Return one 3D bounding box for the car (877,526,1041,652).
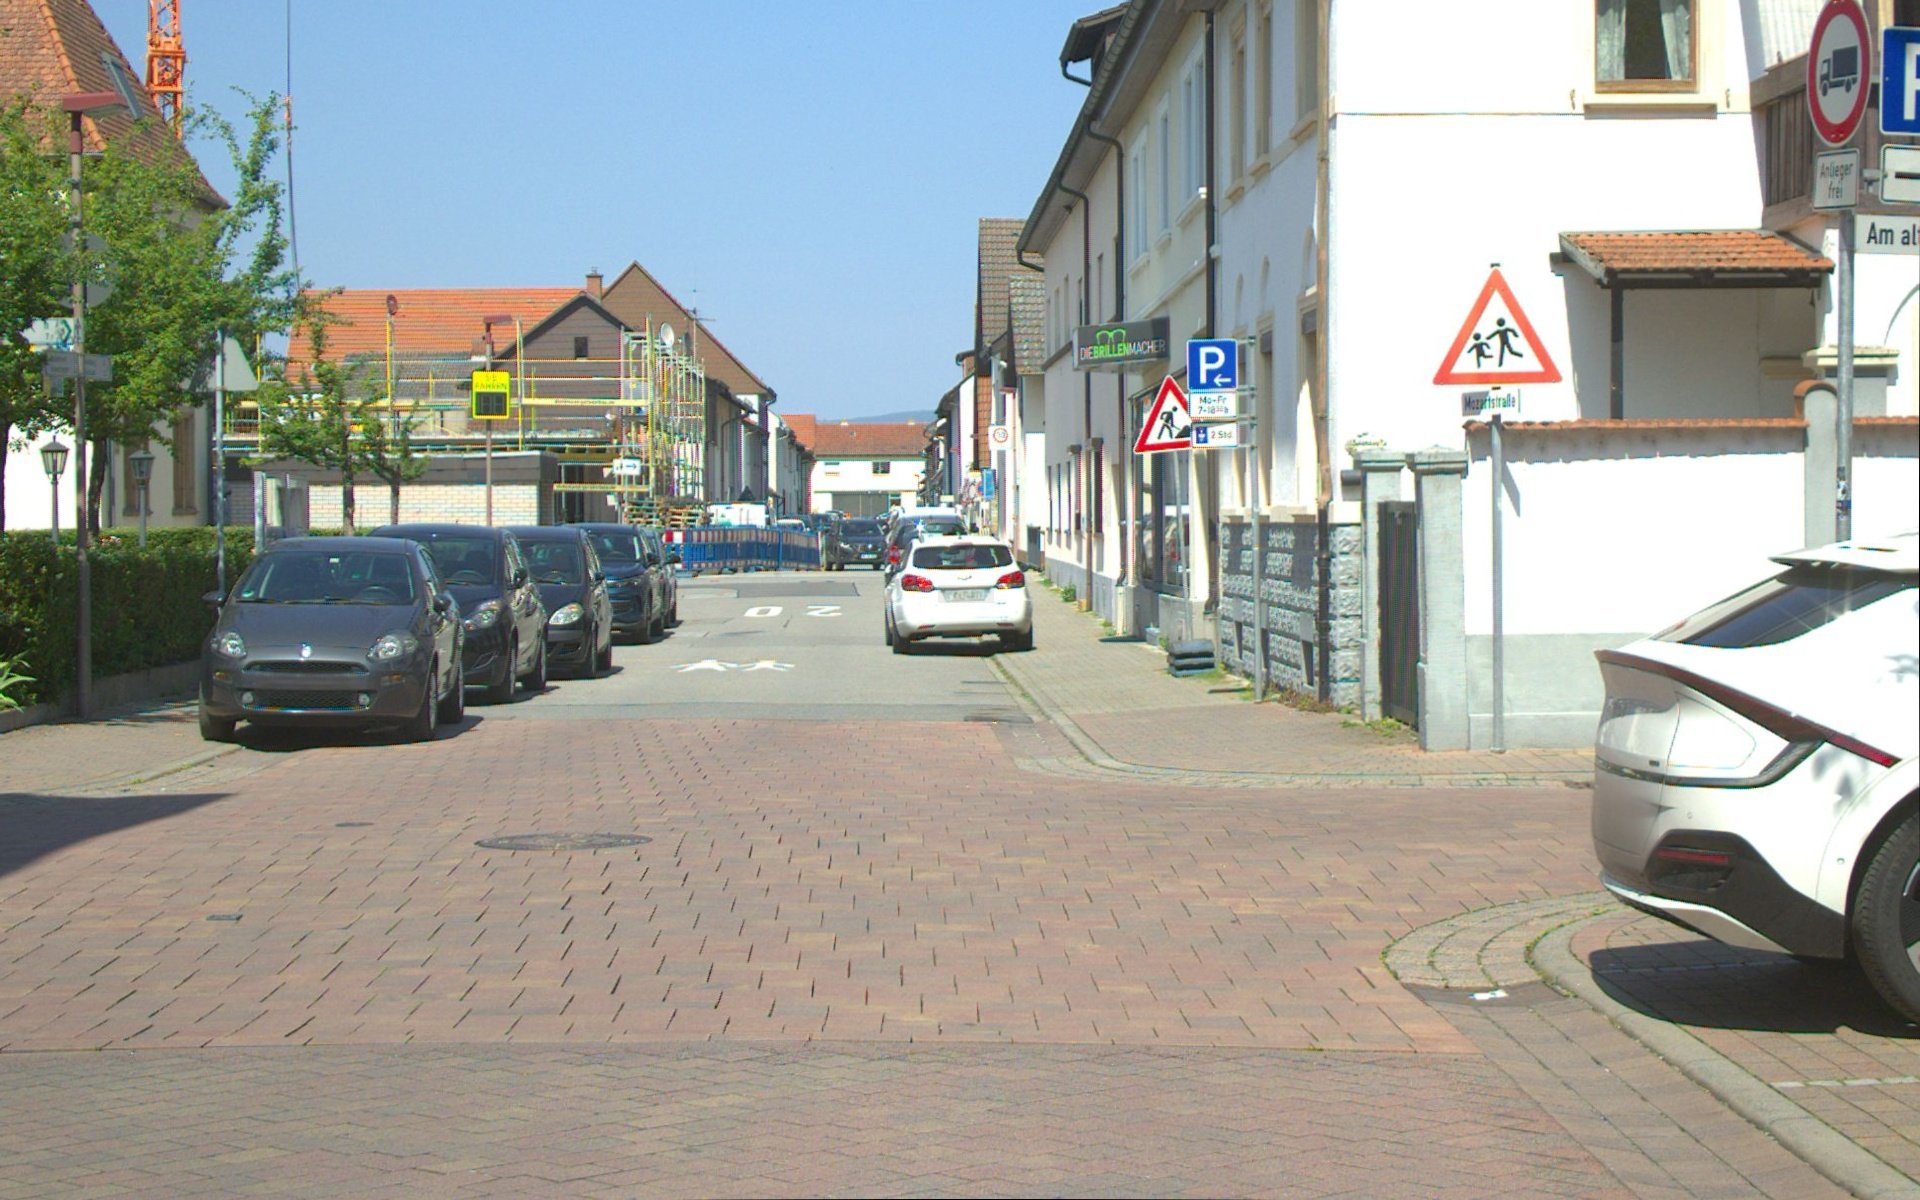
[{"bbox_3d":[0.041,-0.178,44.902,1.887,1.536,4.242,0,1,3],"label":"car"}]

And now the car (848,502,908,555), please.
[{"bbox_3d":[-2.676,-2.318,111.185,1.881,1.662,4.154,0,1,-2],"label":"car"}]

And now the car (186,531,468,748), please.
[{"bbox_3d":[-4.733,0.237,26.150,1.702,1.491,3.858,0,1,-4],"label":"car"}]

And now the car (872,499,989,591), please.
[{"bbox_3d":[-0.585,-1.065,64.668,1.884,1.550,3.895,-4,2,-4],"label":"car"}]

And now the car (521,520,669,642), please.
[{"bbox_3d":[-5.099,-0.306,48.459,1.826,1.625,4.218,0,1,-3],"label":"car"}]

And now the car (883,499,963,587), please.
[{"bbox_3d":[-0.777,-1.177,69.847,1.564,1.607,3.543,0,4,-1],"label":"car"}]

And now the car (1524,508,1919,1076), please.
[{"bbox_3d":[4.164,0.467,10.718,4.440,1.570,1.789,-2,2,-2],"label":"car"}]

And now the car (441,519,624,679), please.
[{"bbox_3d":[-4.639,-0.055,37.683,1.637,1.623,3.769,0,2,-2],"label":"car"}]

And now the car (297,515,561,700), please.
[{"bbox_3d":[-4.867,0.016,32.006,1.815,1.599,4.025,0,1,0],"label":"car"}]
